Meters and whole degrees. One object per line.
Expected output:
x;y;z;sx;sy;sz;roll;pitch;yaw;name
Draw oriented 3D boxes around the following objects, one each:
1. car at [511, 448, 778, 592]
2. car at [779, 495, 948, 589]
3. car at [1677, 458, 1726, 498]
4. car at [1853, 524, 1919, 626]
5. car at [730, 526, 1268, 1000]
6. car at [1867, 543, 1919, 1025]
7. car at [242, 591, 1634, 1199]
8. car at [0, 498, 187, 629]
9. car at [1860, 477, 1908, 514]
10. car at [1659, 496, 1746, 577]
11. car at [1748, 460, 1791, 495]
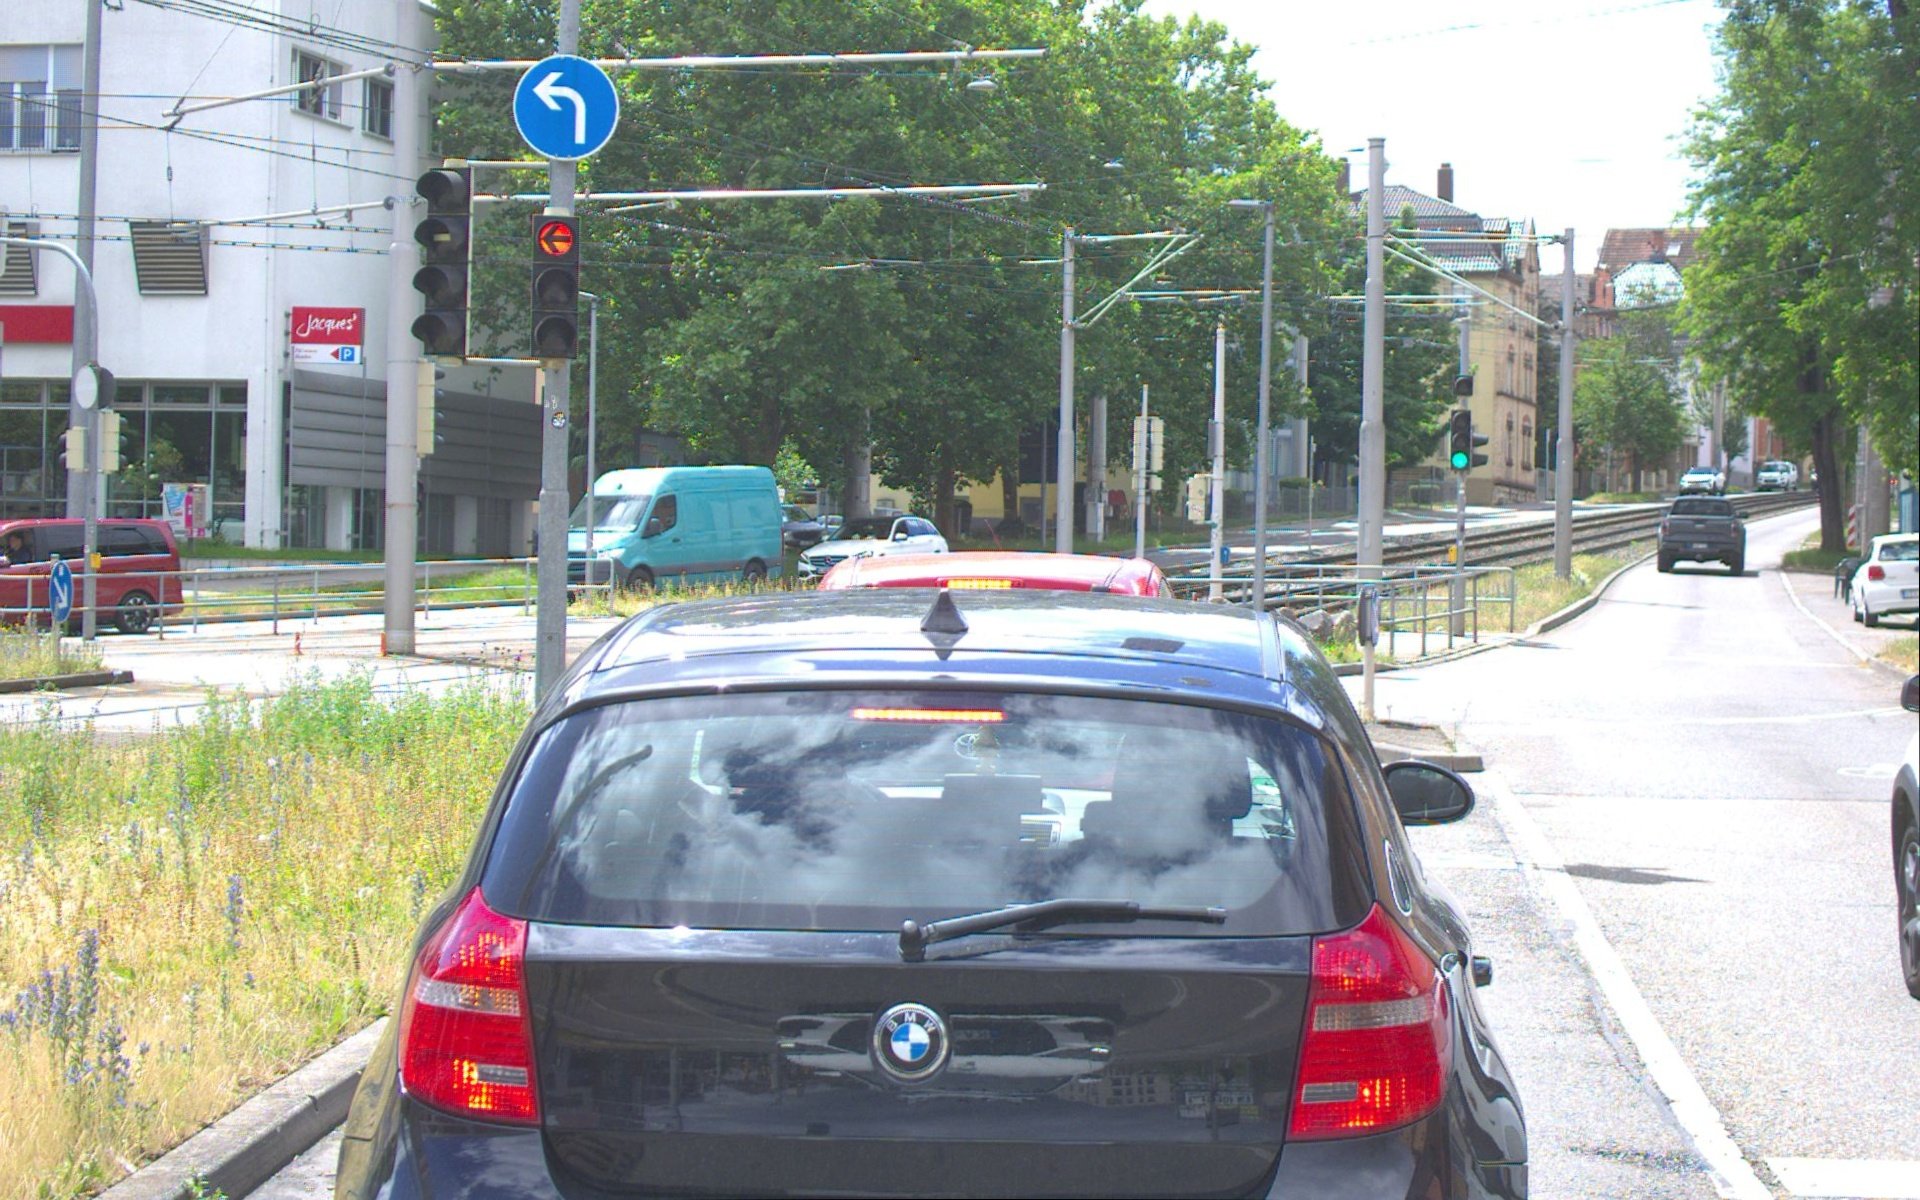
-6.004;-1.496;66.213;2.134;2.645;5.680;0;0;31;car
-2.008;-1.201;73.046;1.855;1.921;4.792;0;0;21;car
40.524;-6.658;187.729;1.996;2.007;3.996;0;0;21;car
15.544;-0.408;56.024;1.788;1.590;3.998;0;0;13;car
0.294;0.504;12.731;1.625;1.468;3.999;0;0;6;car
3.847;0.603;9.987;1.715;1.545;3.793;0;1;5;car
-0.113;0.715;6.209;1.701;1.447;4.000;0;0;-3;car
-14.712;-0.566;53.997;1.857;2.002;4.785;0;0;44;car
44.348;-5.015;164.932;1.995;1.656;3.996;0;0;18;car
18.048;-1.509;83.596;2.000;1.880;5.147;0;0;12;car
48.760;-7.362;207.026;1.996;2.007;3.996;0;0;21;car
